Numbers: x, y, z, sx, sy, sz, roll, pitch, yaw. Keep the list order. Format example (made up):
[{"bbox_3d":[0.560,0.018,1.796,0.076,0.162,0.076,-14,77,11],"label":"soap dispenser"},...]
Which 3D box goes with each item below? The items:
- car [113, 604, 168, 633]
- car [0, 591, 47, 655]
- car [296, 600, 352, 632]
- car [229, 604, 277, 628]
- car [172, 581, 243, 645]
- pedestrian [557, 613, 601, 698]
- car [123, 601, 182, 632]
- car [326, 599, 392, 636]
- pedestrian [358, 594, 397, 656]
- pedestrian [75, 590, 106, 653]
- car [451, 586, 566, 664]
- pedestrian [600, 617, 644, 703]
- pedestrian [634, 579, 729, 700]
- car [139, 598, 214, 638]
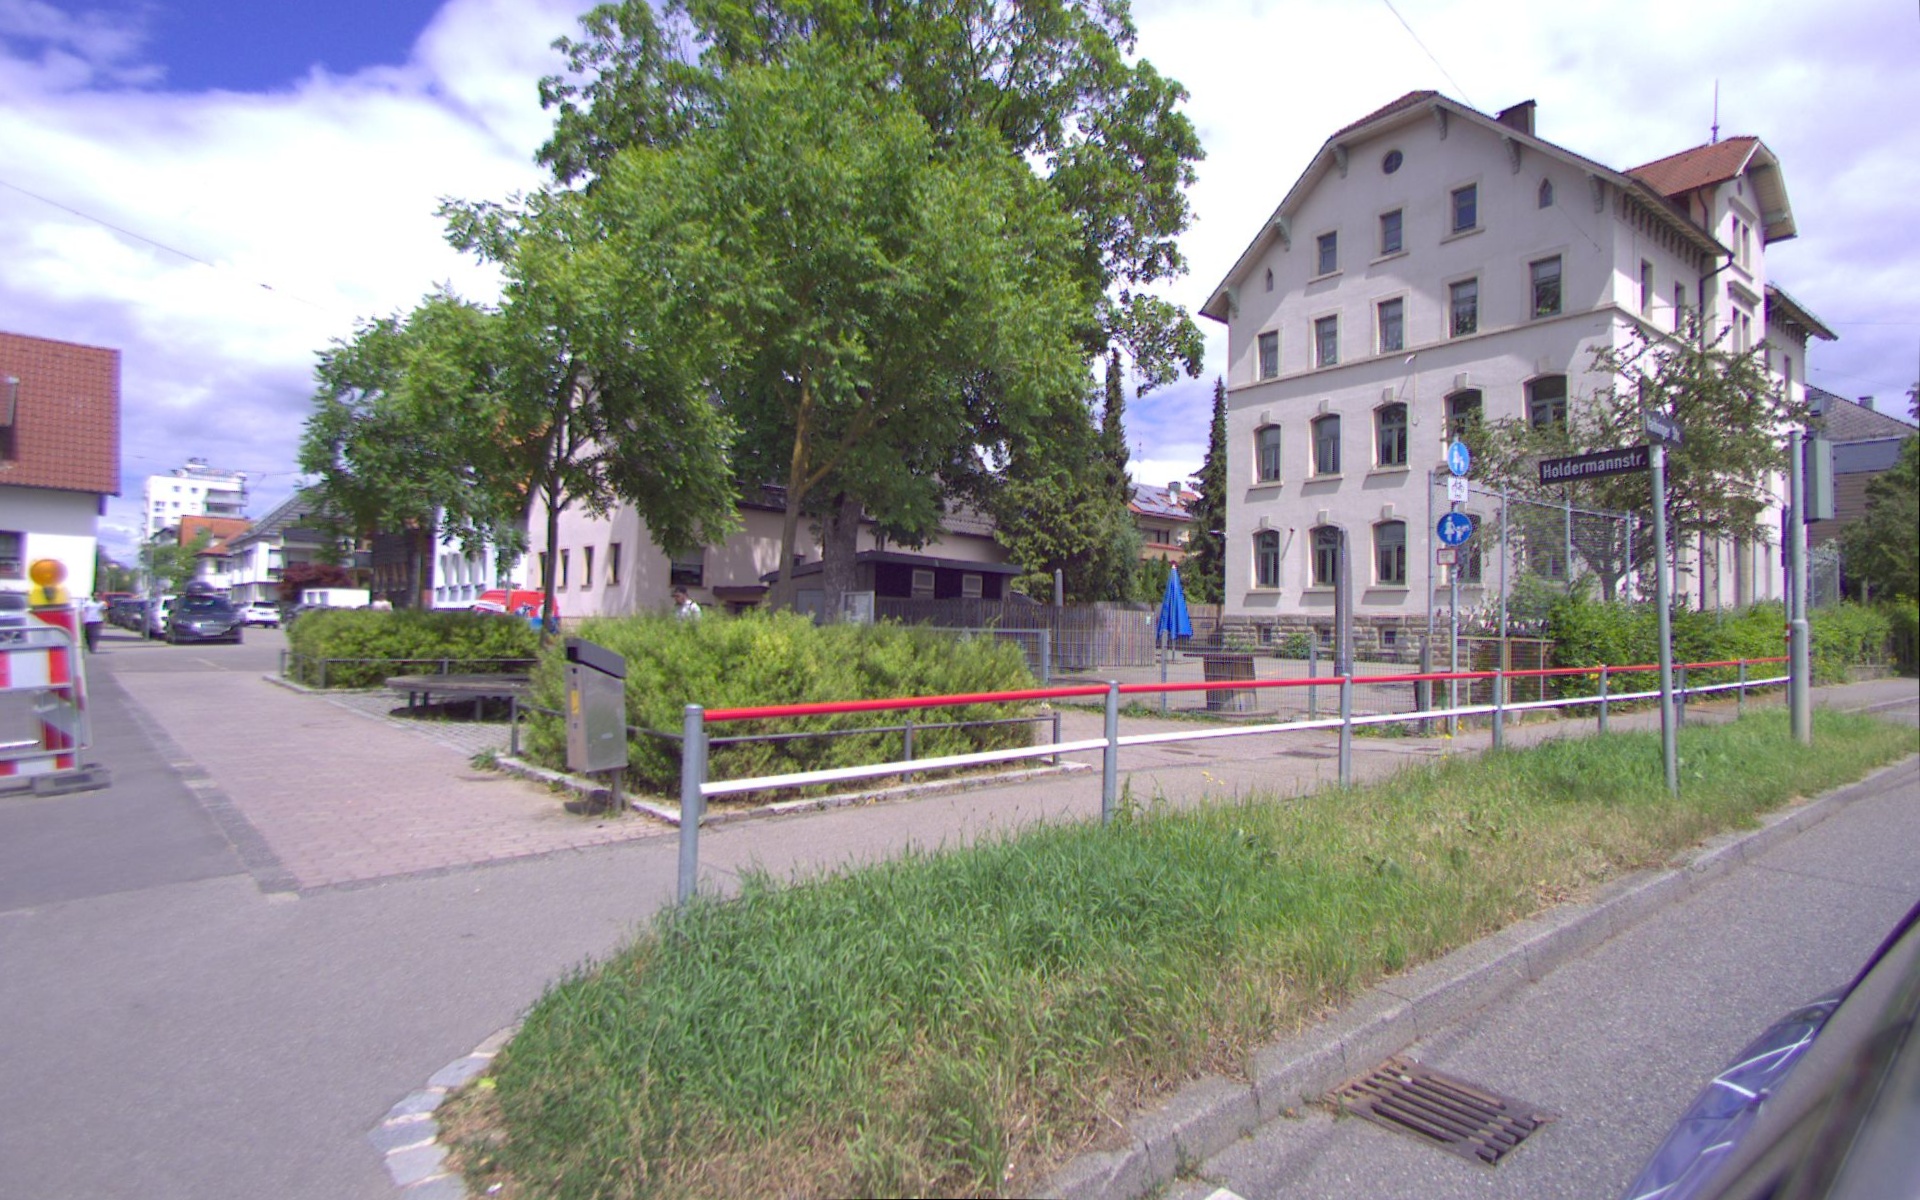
[{"bbox_3d":[-41.712,0.930,51.485,1.822,1.416,3.990,1,-1,-44],"label":"car"},{"bbox_3d":[-26.367,0.586,26.332,3.797,1.653,1.774,1,-1,-41],"label":"car"},{"bbox_3d":[-29.646,0.717,47.136,1.573,1.438,3.992,1,-1,-42],"label":"car"},{"bbox_3d":[-43.164,0.936,61.755,1.822,1.416,3.990,1,-1,-44],"label":"car"},{"bbox_3d":[-25.515,0.426,34.344,1.818,2.039,3.998,1,-1,-36],"label":"car"},{"bbox_3d":[-5.732,0.823,15.226,0.401,1.246,0.457,0,-1,27],"label":"pedestrian"},{"bbox_3d":[-38.377,0.759,48.074,1.822,1.416,3.990,1,-1,-44],"label":"car"},{"bbox_3d":[-24.476,0.699,41.141,1.573,1.438,3.992,1,-1,-42],"label":"car"},{"bbox_3d":[-16.559,0.714,28.766,0.835,1.750,0.756,1,-3,-42],"label":"pedestrian"},{"bbox_3d":[-23.254,0.568,27.062,0.601,1.677,0.431,1,-1,-43],"label":"pedestrian"},{"bbox_3d":[-12.771,0.662,28.510,1.964,2.039,3.995,1,-1,-39],"label":"car"},{"bbox_3d":[-5.044,0.885,15.122,0.401,1.246,0.457,0,-1,27],"label":"pedestrian"},{"bbox_3d":[-4.447,0.636,16.183,0.748,1.842,1.129,-1,-5,42],"label":"pedestrian"},{"bbox_3d":[-29.377,0.657,37.919,1.822,1.416,3.990,1,-1,-44],"label":"car"}]
